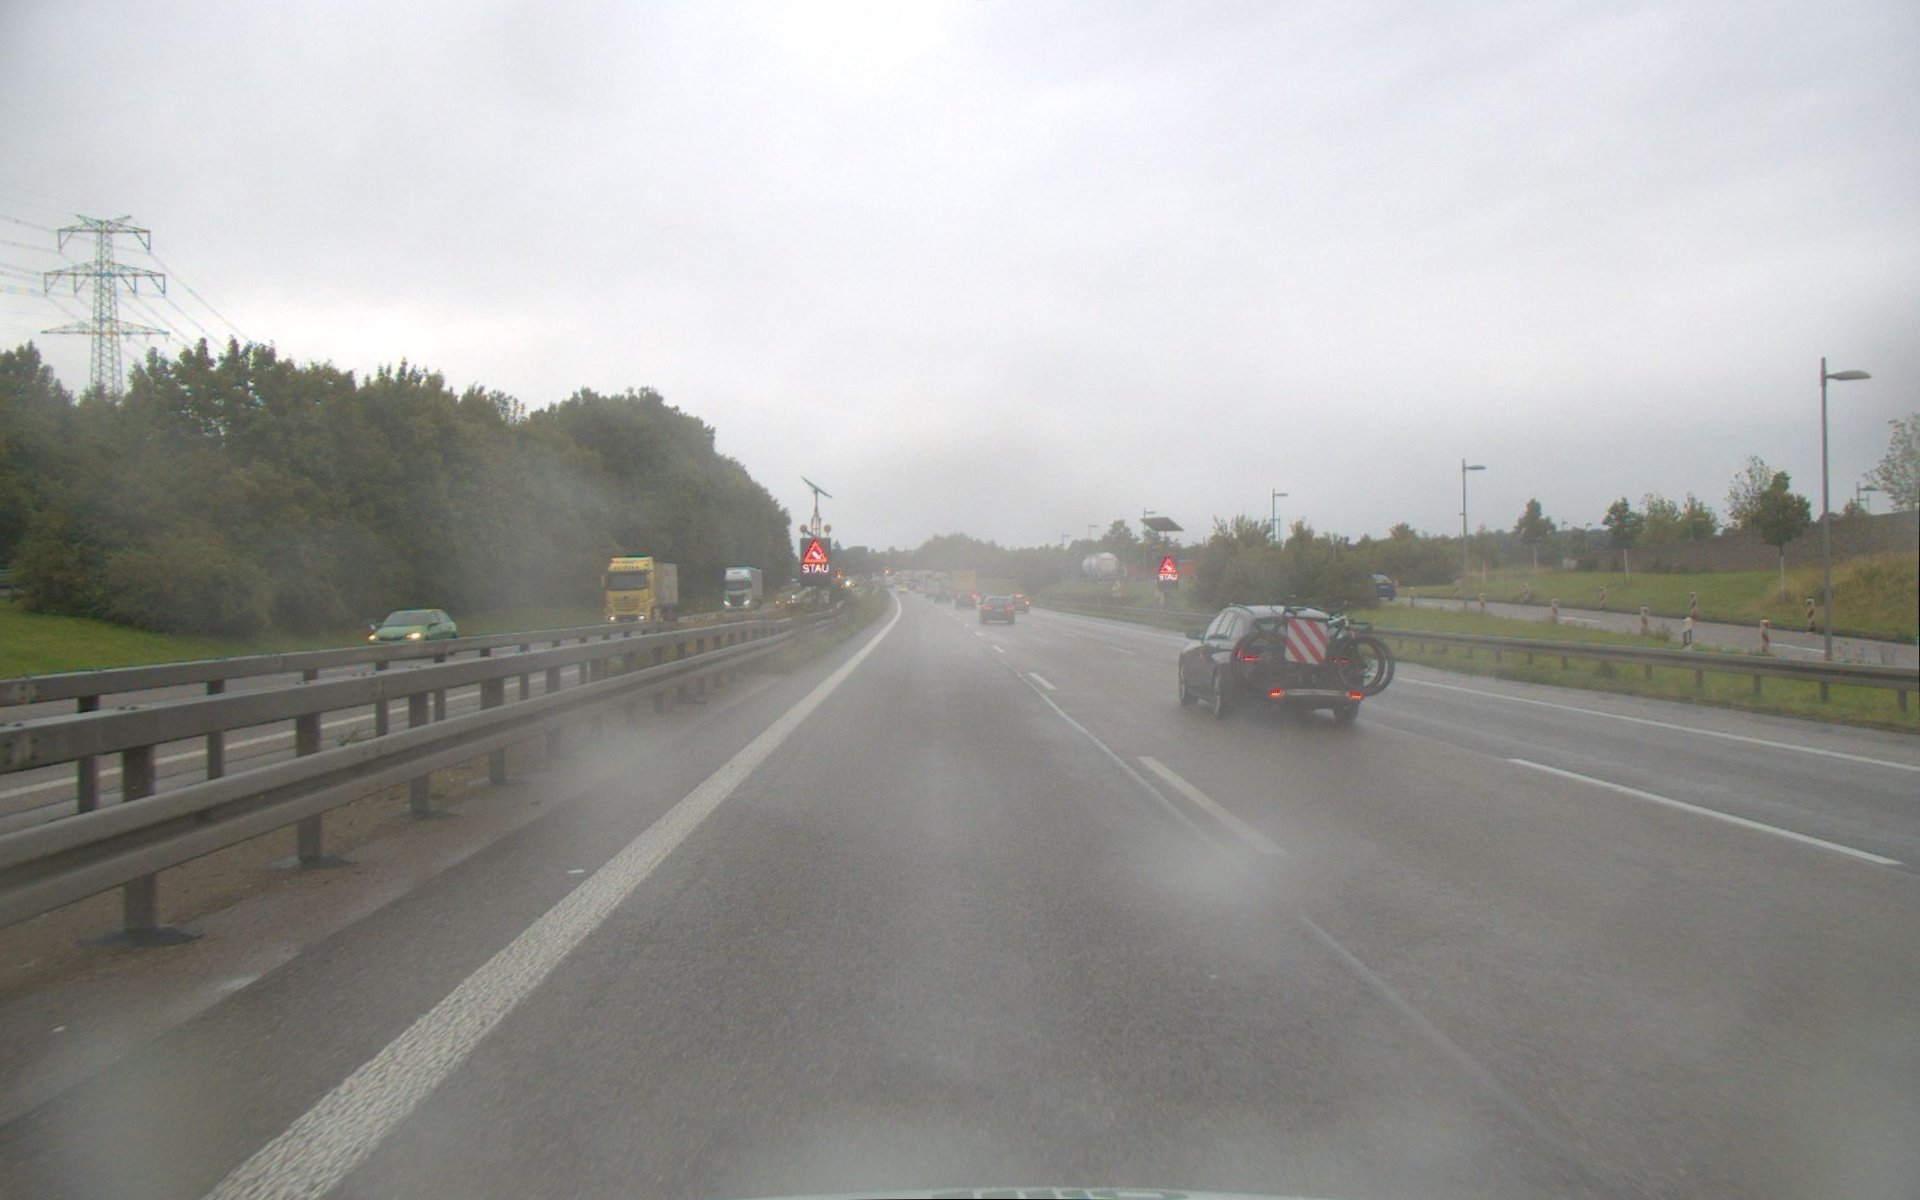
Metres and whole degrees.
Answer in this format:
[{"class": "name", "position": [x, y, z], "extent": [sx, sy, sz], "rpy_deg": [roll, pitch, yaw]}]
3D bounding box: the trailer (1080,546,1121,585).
[{"class": "trailer", "position": [15.656, -3.808, 185.327], "extent": [2.925, 4.229, 12.951], "rpy_deg": [-1, 1, -2]}]

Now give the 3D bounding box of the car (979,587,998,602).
[{"class": "car", "position": [3.202, -0.593, 188.052], "extent": [1.953, 1.657, 3.999], "rpy_deg": [-1, 1, -2]}]

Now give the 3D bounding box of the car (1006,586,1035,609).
[{"class": "car", "position": [4.741, -0.218, 130.209], "extent": [1.953, 1.791, 3.999], "rpy_deg": [-1, 1, -2]}]

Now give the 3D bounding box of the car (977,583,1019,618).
[{"class": "car", "position": [1.994, 0.010, 87.755], "extent": [1.953, 1.791, 3.999], "rpy_deg": [-1, 1, -2]}]

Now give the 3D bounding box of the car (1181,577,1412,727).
[{"class": "car", "position": [4.255, 0.622, 21.866], "extent": [2.015, 1.700, 5.522], "rpy_deg": [1, -1, 1]}]

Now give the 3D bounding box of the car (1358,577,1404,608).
[{"class": "car", "position": [24.319, -0.451, 95.662], "extent": [1.882, 1.739, 4.002], "rpy_deg": [-1, 0, 5]}]

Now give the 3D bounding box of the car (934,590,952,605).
[{"class": "car", "position": [-1.989, -0.309, 192.655], "extent": [1.953, 1.657, 3.999], "rpy_deg": [-1, 1, -2]}]

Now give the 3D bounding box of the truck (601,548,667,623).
[{"class": "truck", "position": [-19.048, -0.851, 96.995], "extent": [2.706, 4.126, 6.155], "rpy_deg": [-2, 0, -2]}]

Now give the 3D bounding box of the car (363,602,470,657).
[{"class": "car", "position": [-16.639, 0.879, 50.857], "extent": [1.837, 1.519, 4.513], "rpy_deg": [-2, 0, -1]}]

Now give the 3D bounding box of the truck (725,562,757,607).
[{"class": "truck", "position": [-21.465, -1.526, 162.271], "extent": [2.590, 4.311, 3.999], "rpy_deg": [-1, 0, -2]}]

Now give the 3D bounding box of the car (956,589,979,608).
[{"class": "car", "position": [0.663, -0.136, 149.311], "extent": [1.953, 1.657, 3.999], "rpy_deg": [-1, 1, -2]}]

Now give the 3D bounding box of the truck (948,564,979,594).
[{"class": "truck", "position": [0.396, -2.934, 232.826], "extent": [3.845, 4.051, 12.235], "rpy_deg": [-1, 1, -2]}]

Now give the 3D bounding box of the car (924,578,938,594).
[{"class": "car", "position": [-4.320, -2.040, 244.758], "extent": [1.953, 2.243, 3.999], "rpy_deg": [-1, 0, -2]}]

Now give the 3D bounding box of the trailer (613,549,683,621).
[{"class": "trailer", "position": [-19.236, -0.930, 102.578], "extent": [2.706, 4.126, 9.197], "rpy_deg": [-2, 1, -2]}]
